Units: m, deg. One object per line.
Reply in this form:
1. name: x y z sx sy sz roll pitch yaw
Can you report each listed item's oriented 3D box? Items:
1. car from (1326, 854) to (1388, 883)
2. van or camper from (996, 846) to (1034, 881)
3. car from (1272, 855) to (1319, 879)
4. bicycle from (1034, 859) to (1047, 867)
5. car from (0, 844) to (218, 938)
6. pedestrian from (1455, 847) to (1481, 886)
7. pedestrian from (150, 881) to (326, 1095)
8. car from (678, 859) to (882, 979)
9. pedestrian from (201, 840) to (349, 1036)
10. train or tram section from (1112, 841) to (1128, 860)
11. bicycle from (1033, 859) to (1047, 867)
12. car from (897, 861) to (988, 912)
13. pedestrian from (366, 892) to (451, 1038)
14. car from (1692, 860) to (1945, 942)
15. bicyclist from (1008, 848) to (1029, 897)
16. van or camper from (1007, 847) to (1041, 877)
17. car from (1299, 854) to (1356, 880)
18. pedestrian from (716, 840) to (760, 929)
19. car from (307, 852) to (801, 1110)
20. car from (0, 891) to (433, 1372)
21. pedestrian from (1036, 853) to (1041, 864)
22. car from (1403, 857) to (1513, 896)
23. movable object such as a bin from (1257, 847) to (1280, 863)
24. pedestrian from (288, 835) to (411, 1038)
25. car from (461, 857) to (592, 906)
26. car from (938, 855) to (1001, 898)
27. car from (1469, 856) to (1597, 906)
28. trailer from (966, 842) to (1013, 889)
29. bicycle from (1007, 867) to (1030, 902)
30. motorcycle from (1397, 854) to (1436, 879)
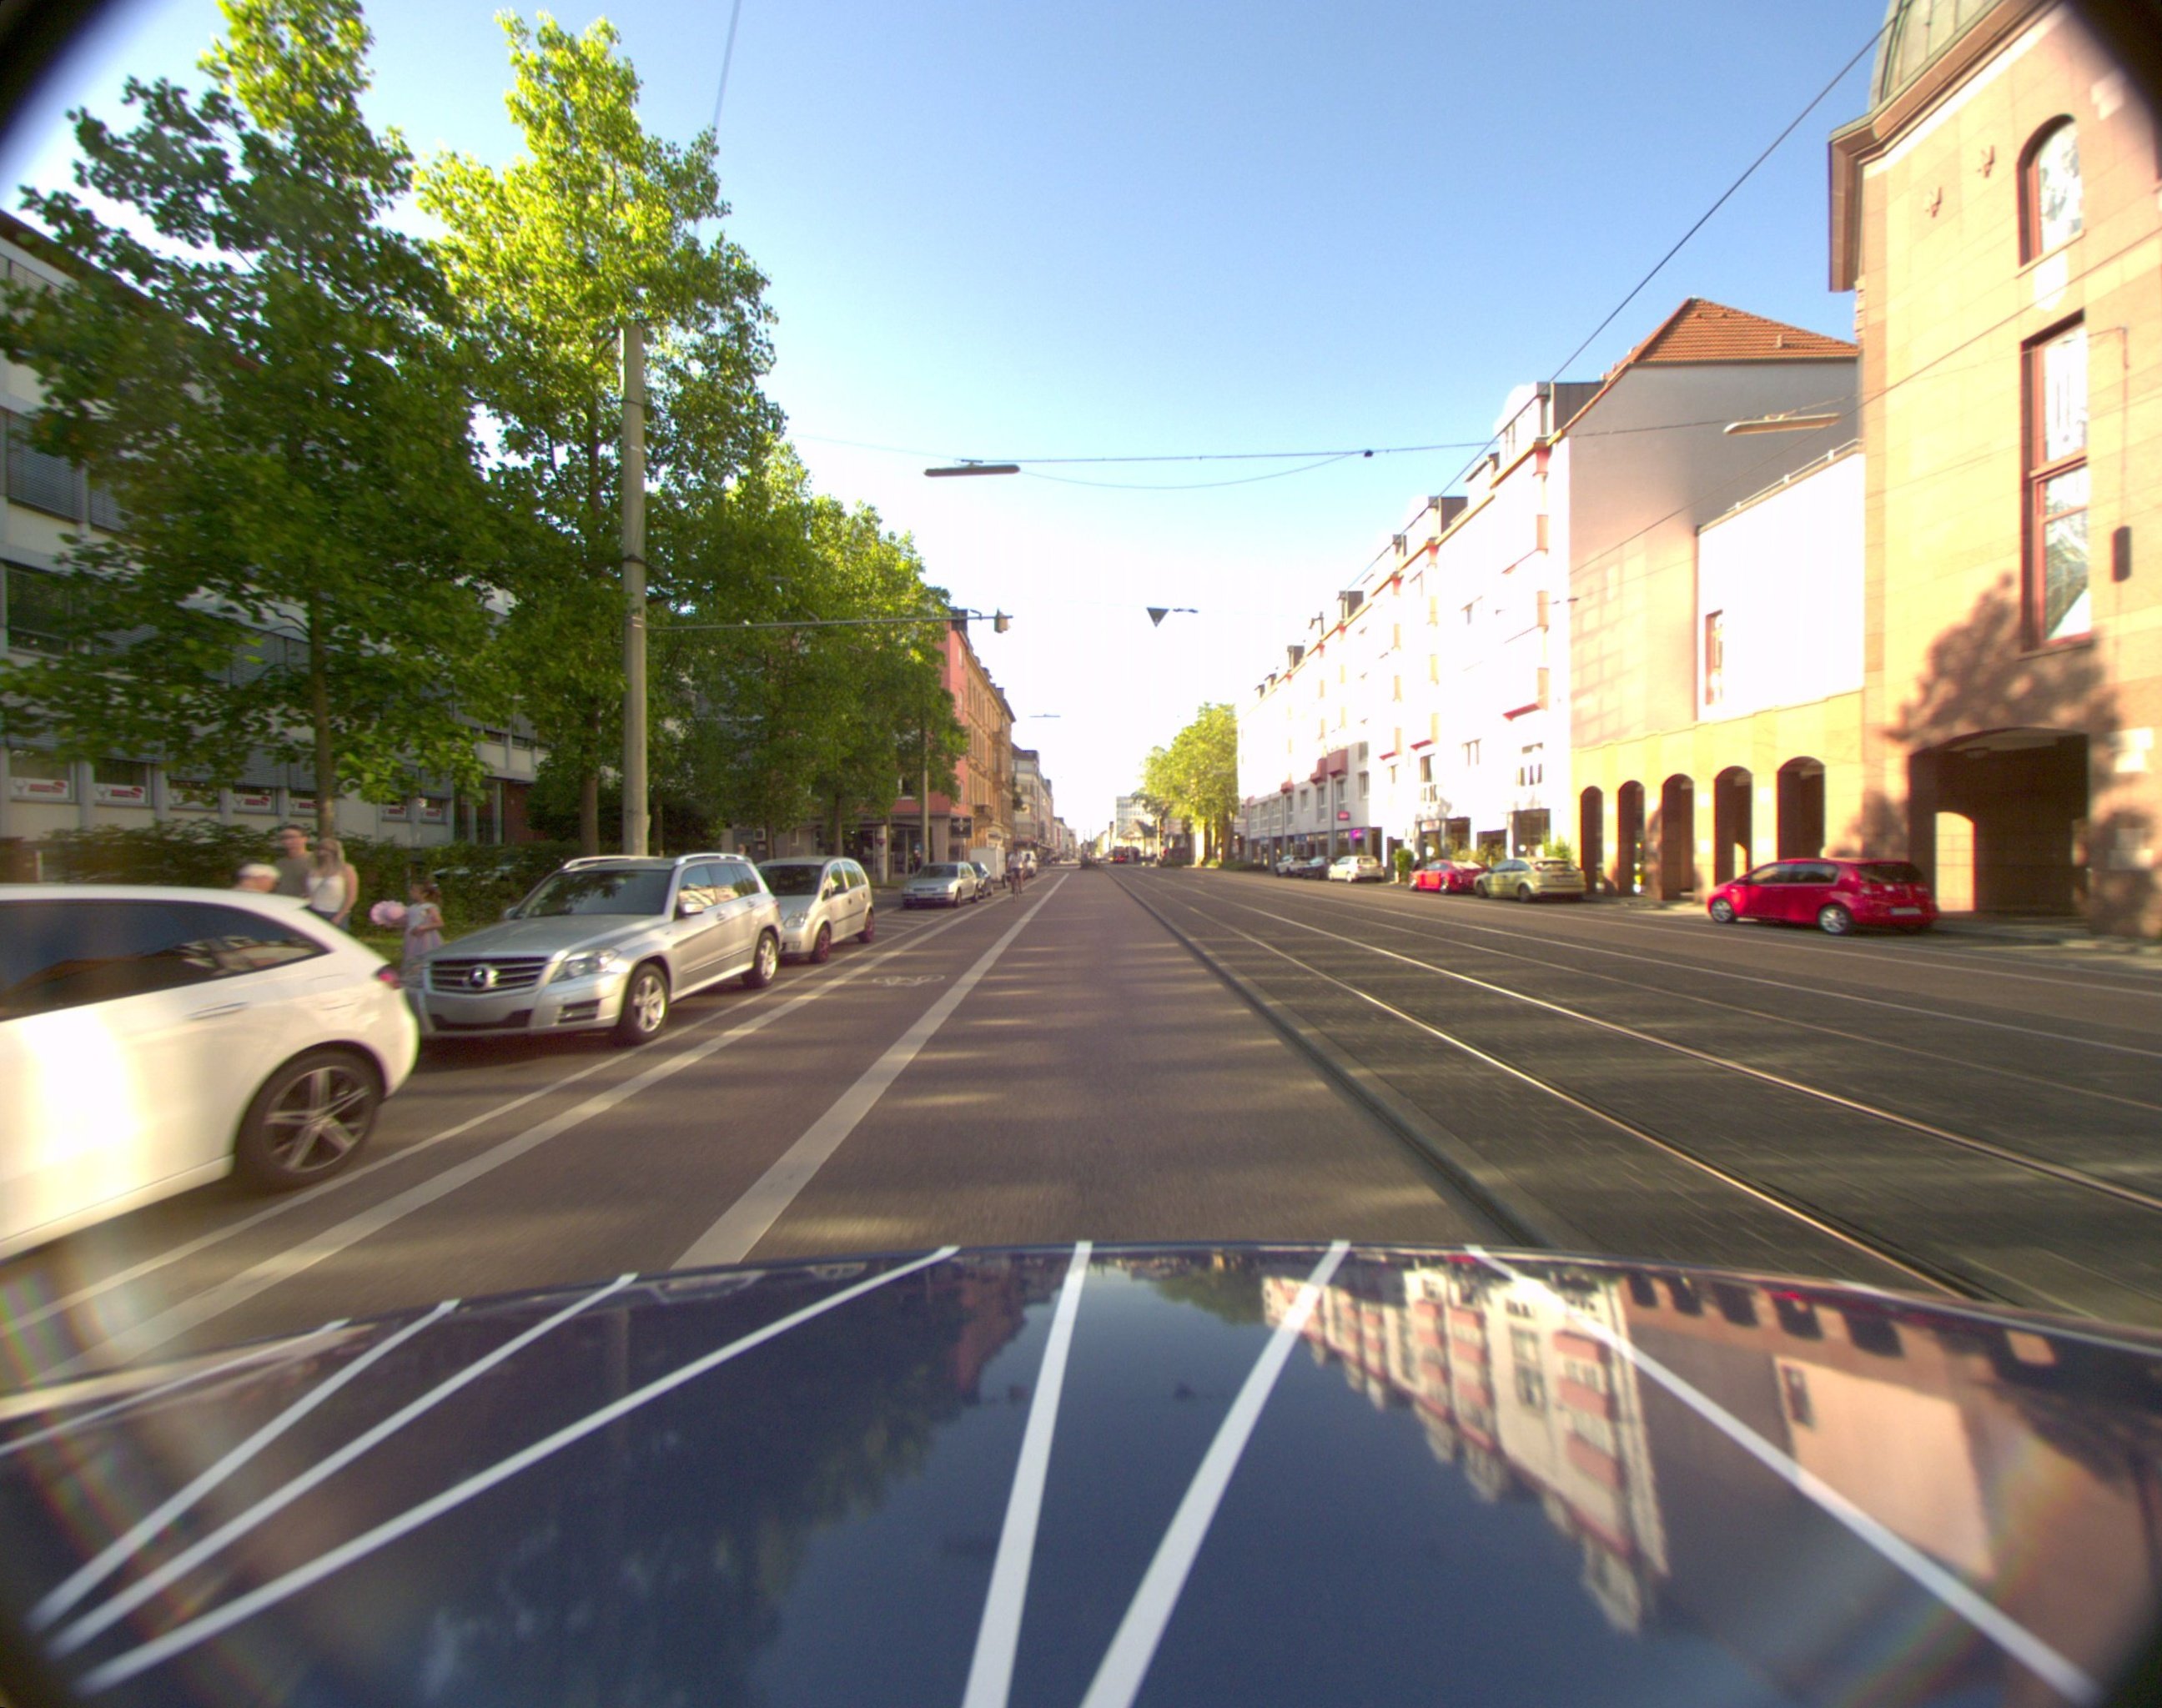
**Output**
1. car: 15.071 0.744 41.760 1.756 1.466 4.206 -1 0 -2
2. van or camper: -4.192 0.559 48.753 1.976 2.033 5.330 -2 0 -1
3. car: 15.223 0.924 54.110 1.922 1.604 4.369 -1 0 -2
4. bicycle: -5.791 1.246 108.491 1.951 1.100 0.564 0 0 -1
5. car: -18.486 0.628 13.367 1.794 1.527 4.309 0 -1 -2
6. pedestrian: 18.513 0.597 36.379 0.822 1.832 0.717 -1 0 -9
7. pedestrian: -6.409 0.975 5.806 0.643 1.523 0.625 0 0 4
8. car: -4.679 0.904 12.513 1.718 1.581 4.065 -2 0 -1
9. pedestrian: -8.241 0.818 7.798 0.670 1.886 0.748 3 1 6
10. train or tram section: 7.916 -0.615 156.054 2.981 3.622 16.489 -2 -1 2
11. bicycle: -5.765 1.249 107.843 1.951 1.100 0.564 0 0 -1
12. car: -4.388 0.995 24.745 1.753 1.434 4.316 -1 0 5
13. pedestrian: -6.788 1.101 7.679 0.457 1.390 0.423 2 1 5
14. car: 14.853 0.865 15.605 1.663 1.413 3.620 -2 0 0
15. bicyclist: -2.177 0.636 26.528 0.656 1.646 0.927 -1 1 -1
16. van or camper: -4.058 0.514 54.762 1.936 2.025 5.474 -2 1 0
17. car: 15.112 0.759 46.832 1.906 1.449 4.826 -1 0 0
18. pedestrian: -7.130 0.617 15.801 0.612 1.797 0.603 1 1 5
19. car: -4.705 0.936 7.910 1.930 1.823 4.711 -2 0 -2
20. car: -4.498 1.022 2.141 1.546 1.561 4.442 -2 0 -1
21. pedestrian: -6.576 0.675 117.148 0.746 1.717 0.814 -2 1 1
22. car: 14.911 0.844 30.392 1.965 1.317 4.820 -2 0 -1
23. movable object such as a bin: 24.097 0.110 97.474 2.644 2.002 1.177 0 0 24
24. pedestrian: -7.391 0.796 7.707 0.466 1.943 0.748 2 1 6
25. car: -18.450 0.854 25.531 1.795 1.455 3.997 0 0 -6
26. car: -4.249 0.825 29.521 1.807 1.427 4.323 -3 0 -1
27. car: 14.852 0.826 25.260 1.673 1.460 4.290 -2 0 0
28. trailer: -4.445 0.524 37.359 1.665 2.104 3.843 -2 0 2
29. bicycle: -2.180 1.039 26.638 0.649 1.132 2.095 -1 0 -1
30. motorcycle: 16.576 0.625 37.556 0.462 1.187 2.079 -2 0 -18
